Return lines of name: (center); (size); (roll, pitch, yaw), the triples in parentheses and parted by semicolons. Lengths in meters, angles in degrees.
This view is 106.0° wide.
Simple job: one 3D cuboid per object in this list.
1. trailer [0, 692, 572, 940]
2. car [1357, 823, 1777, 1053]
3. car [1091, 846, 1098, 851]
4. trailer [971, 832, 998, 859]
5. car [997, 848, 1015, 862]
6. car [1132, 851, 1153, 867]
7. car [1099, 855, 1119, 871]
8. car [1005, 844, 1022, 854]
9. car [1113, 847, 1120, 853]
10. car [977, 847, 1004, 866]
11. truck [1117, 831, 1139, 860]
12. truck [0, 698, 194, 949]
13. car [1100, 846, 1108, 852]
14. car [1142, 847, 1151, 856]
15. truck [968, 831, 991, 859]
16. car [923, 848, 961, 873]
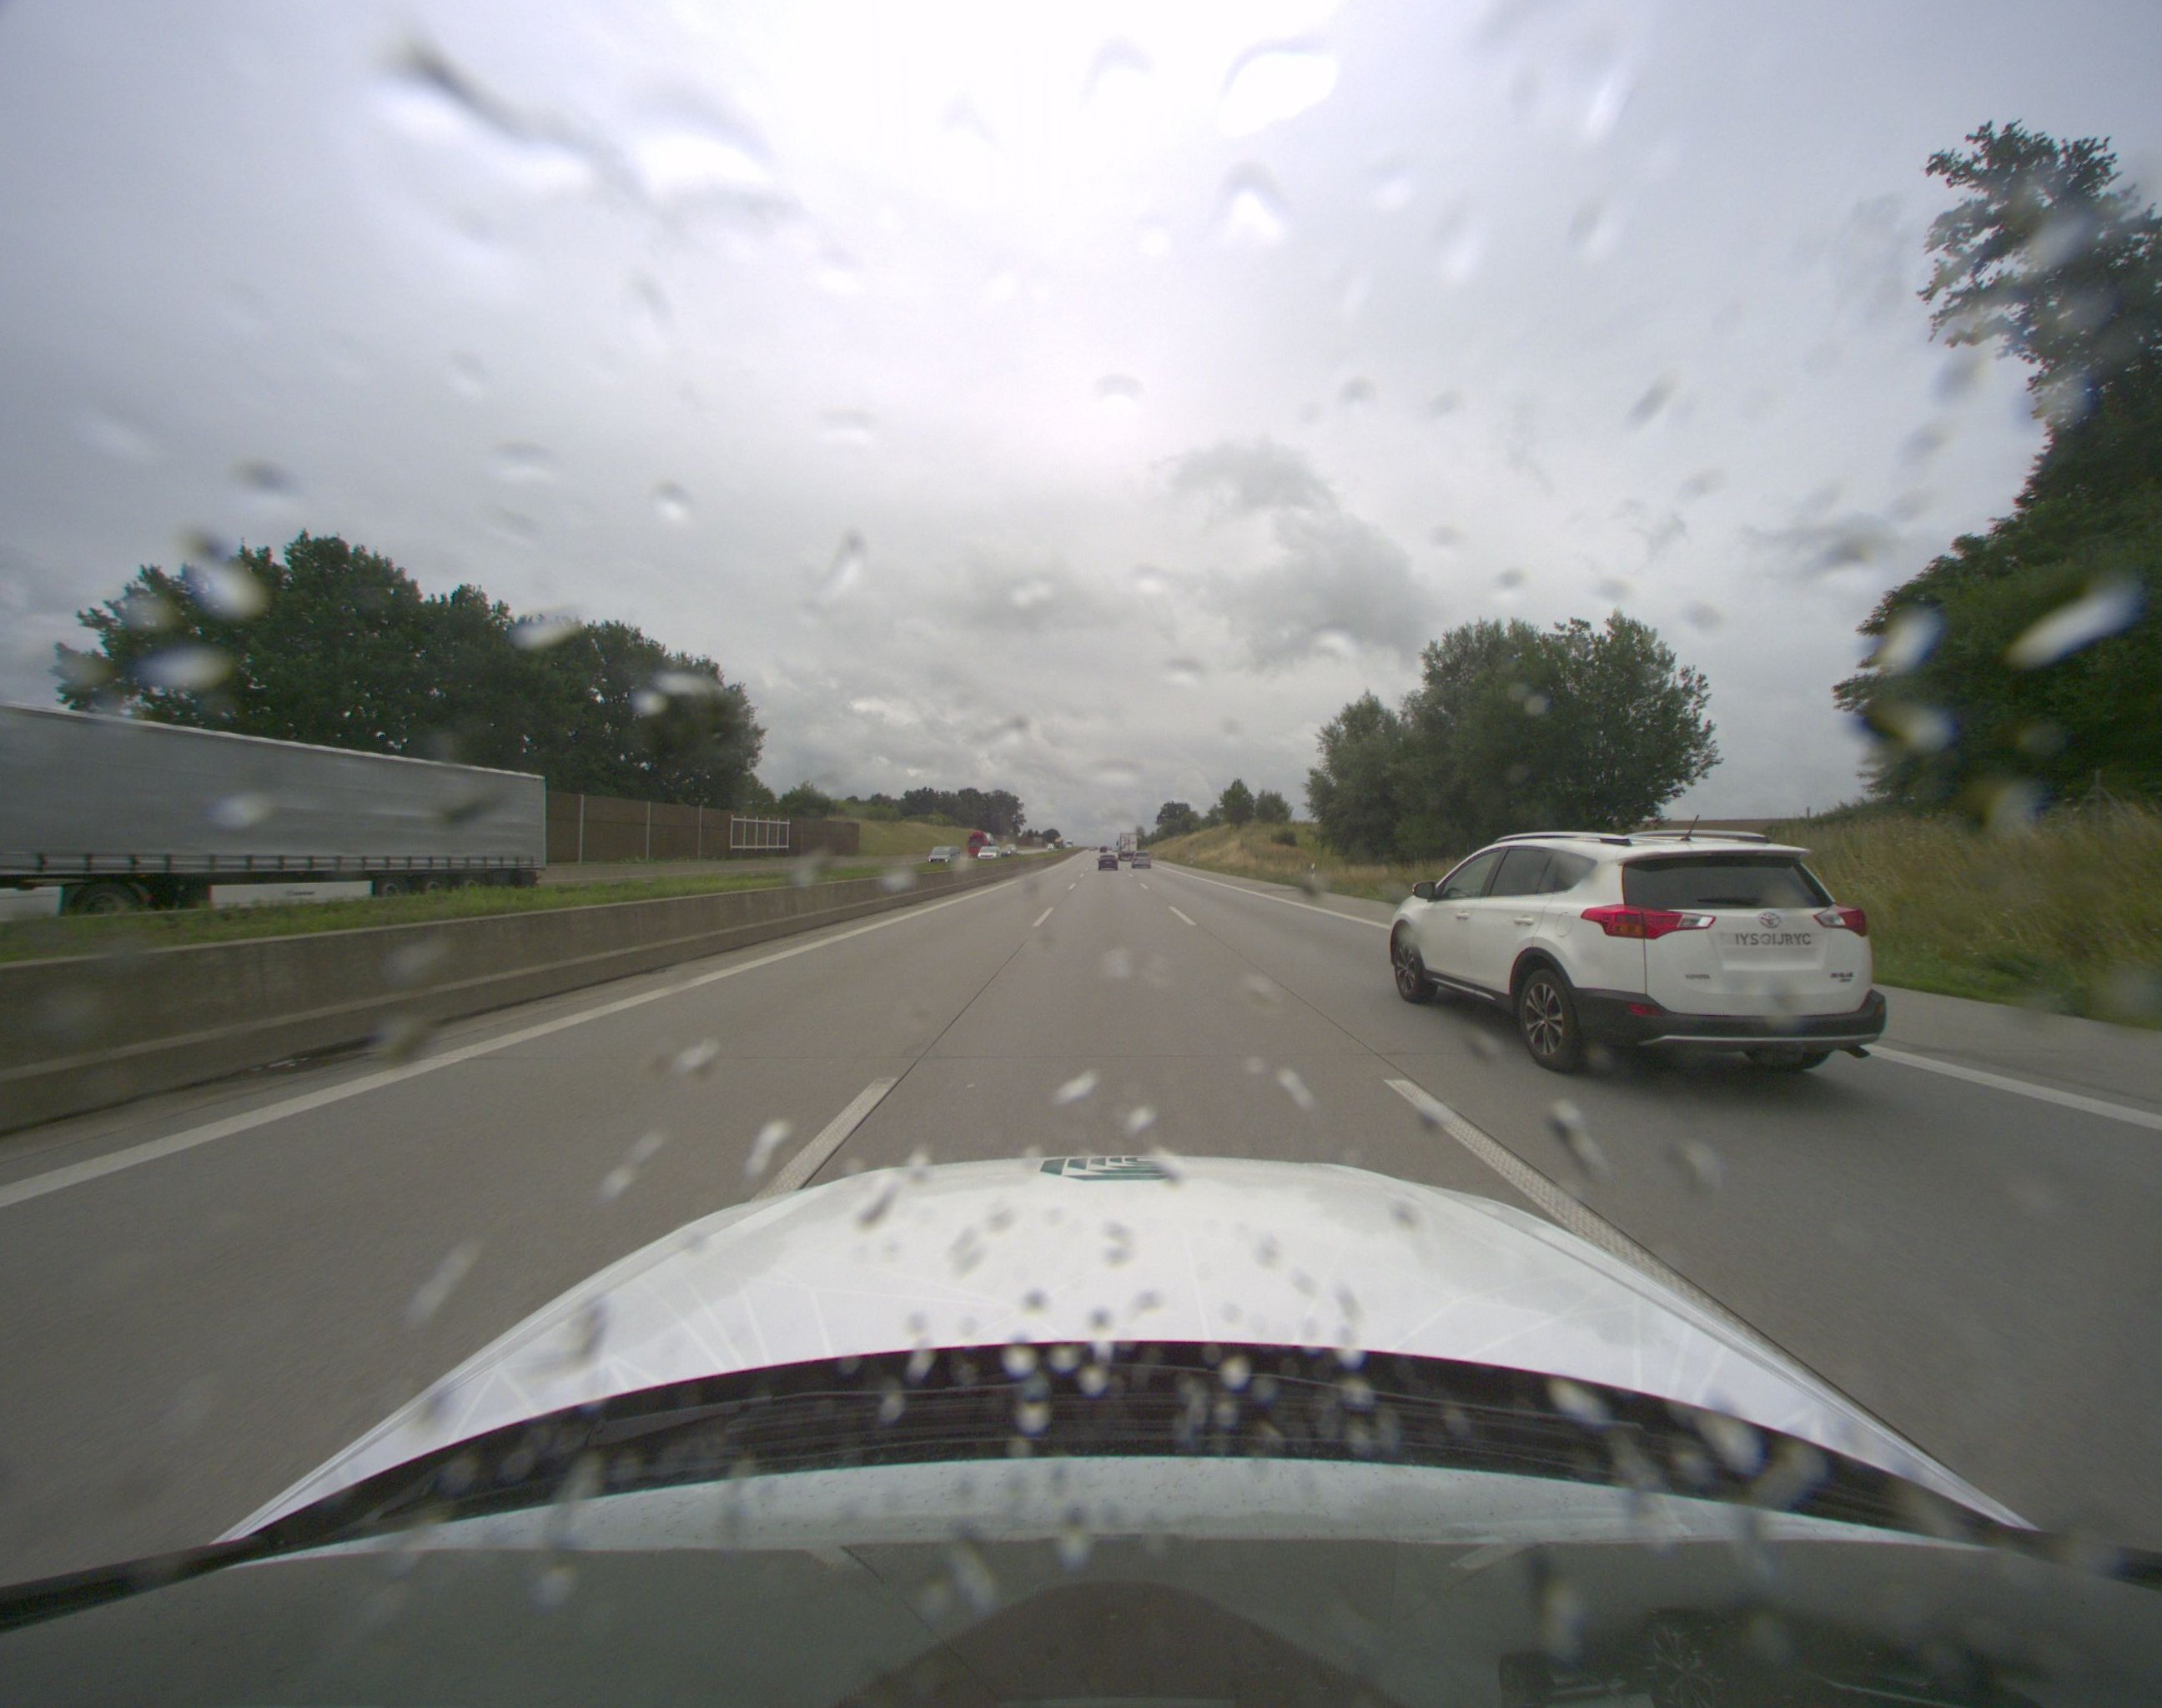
trailer: (-18.690, -0.596, 20.466); (2.687, 4.096, 14.008); (0, 0, 1)
car: (4.183, 0.601, 7.876); (1.818, 1.655, 3.987); (0, 0, 2)
car: (4.198, -1.637, 249.138); (1.939, 1.356, 4.262); (0, 0, 3)
trailer: (-15.692, -1.376, 133.755); (2.543, 4.218, 13.991); (0, 0, 1)
car: (-11.458, 0.165, 125.163); (2.141, 2.013, 5.750); (0, 0, 1)
car: (5.964, 0.498, 79.373); (1.985, 1.530, 4.004); (0, 0, 4)
car: (2.497, 0.786, 73.440); (1.746, 1.398, 4.484); (0, -1, 1)
car: (-11.027, -0.764, 133.583); (2.141, 1.551, 5.351); (0, 1, 1)
car: (10.600, -1.118, 243.984); (1.985, 1.640, 4.004); (0, 0, 4)
car: (-9.151, 0.208, 82.905); (1.986, 1.886, 5.513); (0, 0, 1)
truck: (7.029, -1.170, 122.411); (3.006, 4.180, 8.357); (0, 0, 2)
truck: (-18.864, -0.498, 12.891); (2.673, 4.083, 6.218); (0, 0, 2)
car: (6.048, -1.251, 211.802); (1.927, 1.375, 4.597); (0, -1, 3)
car: (15.175, -0.646, 187.702); (1.985, 2.014, 4.004); (0, 0, 4)
truck: (-15.828, -1.361, 127.213); (2.543, 4.252, 7.464); (0, 0, 1)
car: (-11.209, 0.510, 66.105); (1.986, 1.919, 5.347); (0, 0, 1)
